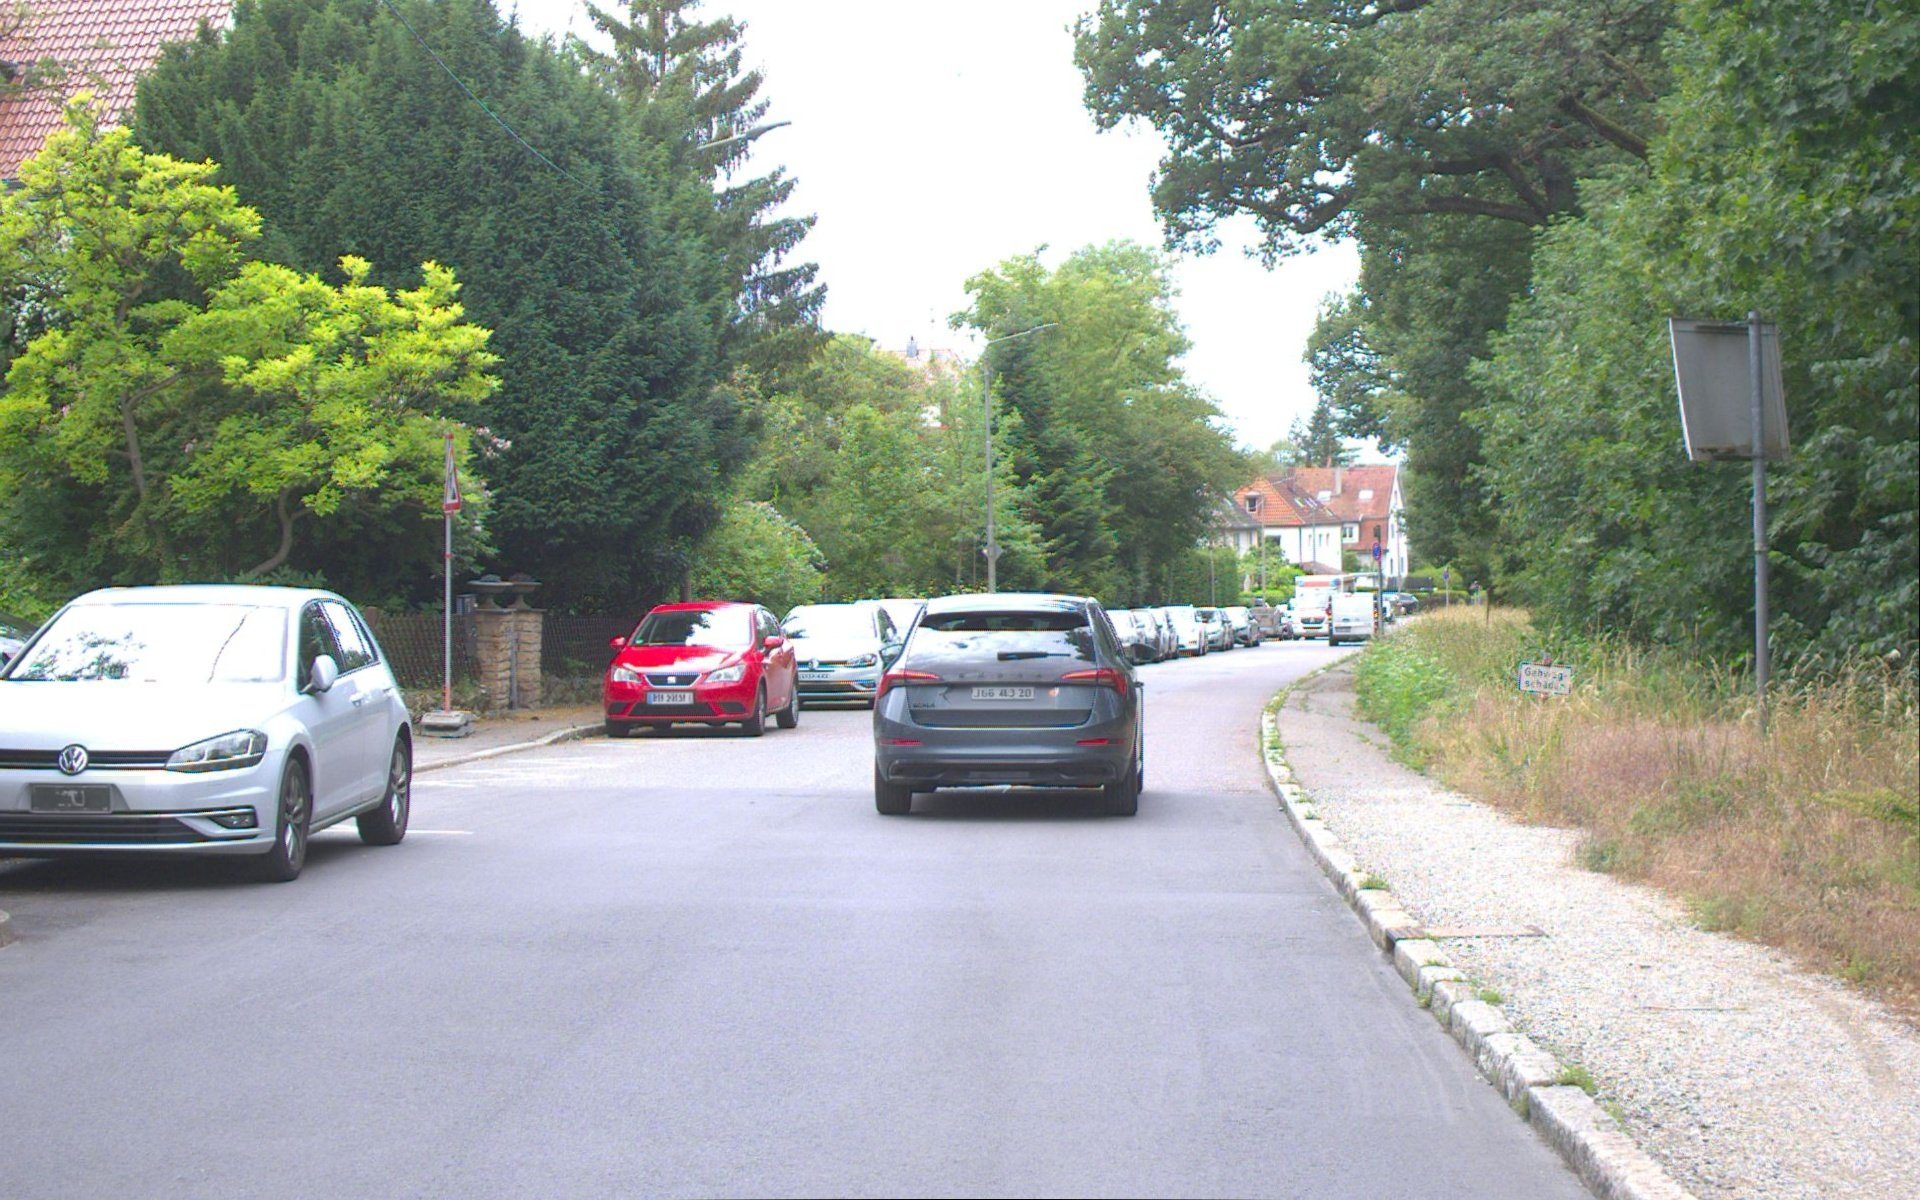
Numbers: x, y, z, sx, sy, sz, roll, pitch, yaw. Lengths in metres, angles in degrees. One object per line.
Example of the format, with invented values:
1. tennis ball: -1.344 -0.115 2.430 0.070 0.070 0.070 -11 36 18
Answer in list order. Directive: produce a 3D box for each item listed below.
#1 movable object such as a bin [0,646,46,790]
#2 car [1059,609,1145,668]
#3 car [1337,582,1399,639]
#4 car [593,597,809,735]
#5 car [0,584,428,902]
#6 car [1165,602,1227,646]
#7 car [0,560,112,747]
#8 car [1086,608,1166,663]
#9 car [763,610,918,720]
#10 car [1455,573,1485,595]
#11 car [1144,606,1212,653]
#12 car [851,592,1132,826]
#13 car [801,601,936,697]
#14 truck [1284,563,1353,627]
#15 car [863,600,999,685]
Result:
1. movable object such as a bin: -6.402 0.762 22.466 0.591 0.906 0.700 1 0 9
2. car: 3.557 0.929 85.543 1.749 1.400 3.999 1 0 8
3. car: 15.230 0.377 128.135 2.206 2.056 6.133 0 1 7
4. car: -2.770 0.682 37.561 1.635 1.400 3.999 1 0 6
5. car: -4.042 0.658 18.061 1.705 1.463 4.075 1 0 2
6. car: 7.914 0.794 115.135 1.749 1.400 3.999 1 0 8
7. car: -9.317 0.381 27.619 4.482 1.436 1.878 1 0 5
8. car: 4.470 0.933 92.263 1.749 1.400 3.999 1 0 8
9. car: -1.590 0.850 46.998 1.749 1.400 4.000 1 0 3
10. car: 33.430 -1.050 225.311 1.735 1.442 3.999 1 0 6
11. car: 6.668 0.884 104.901 1.749 1.400 3.999 1 0 8
12. car: 0.300 0.681 23.674 1.735 1.442 4.180 1 0 3
13. car: -1.372 0.723 52.896 1.749 1.400 4.000 1 0 3
14. truck: 16.196 -0.249 154.849 2.764 2.784 9.265 0 1 8
15. car: -0.465 0.706 59.610 1.749 1.400 3.999 1 0 8
